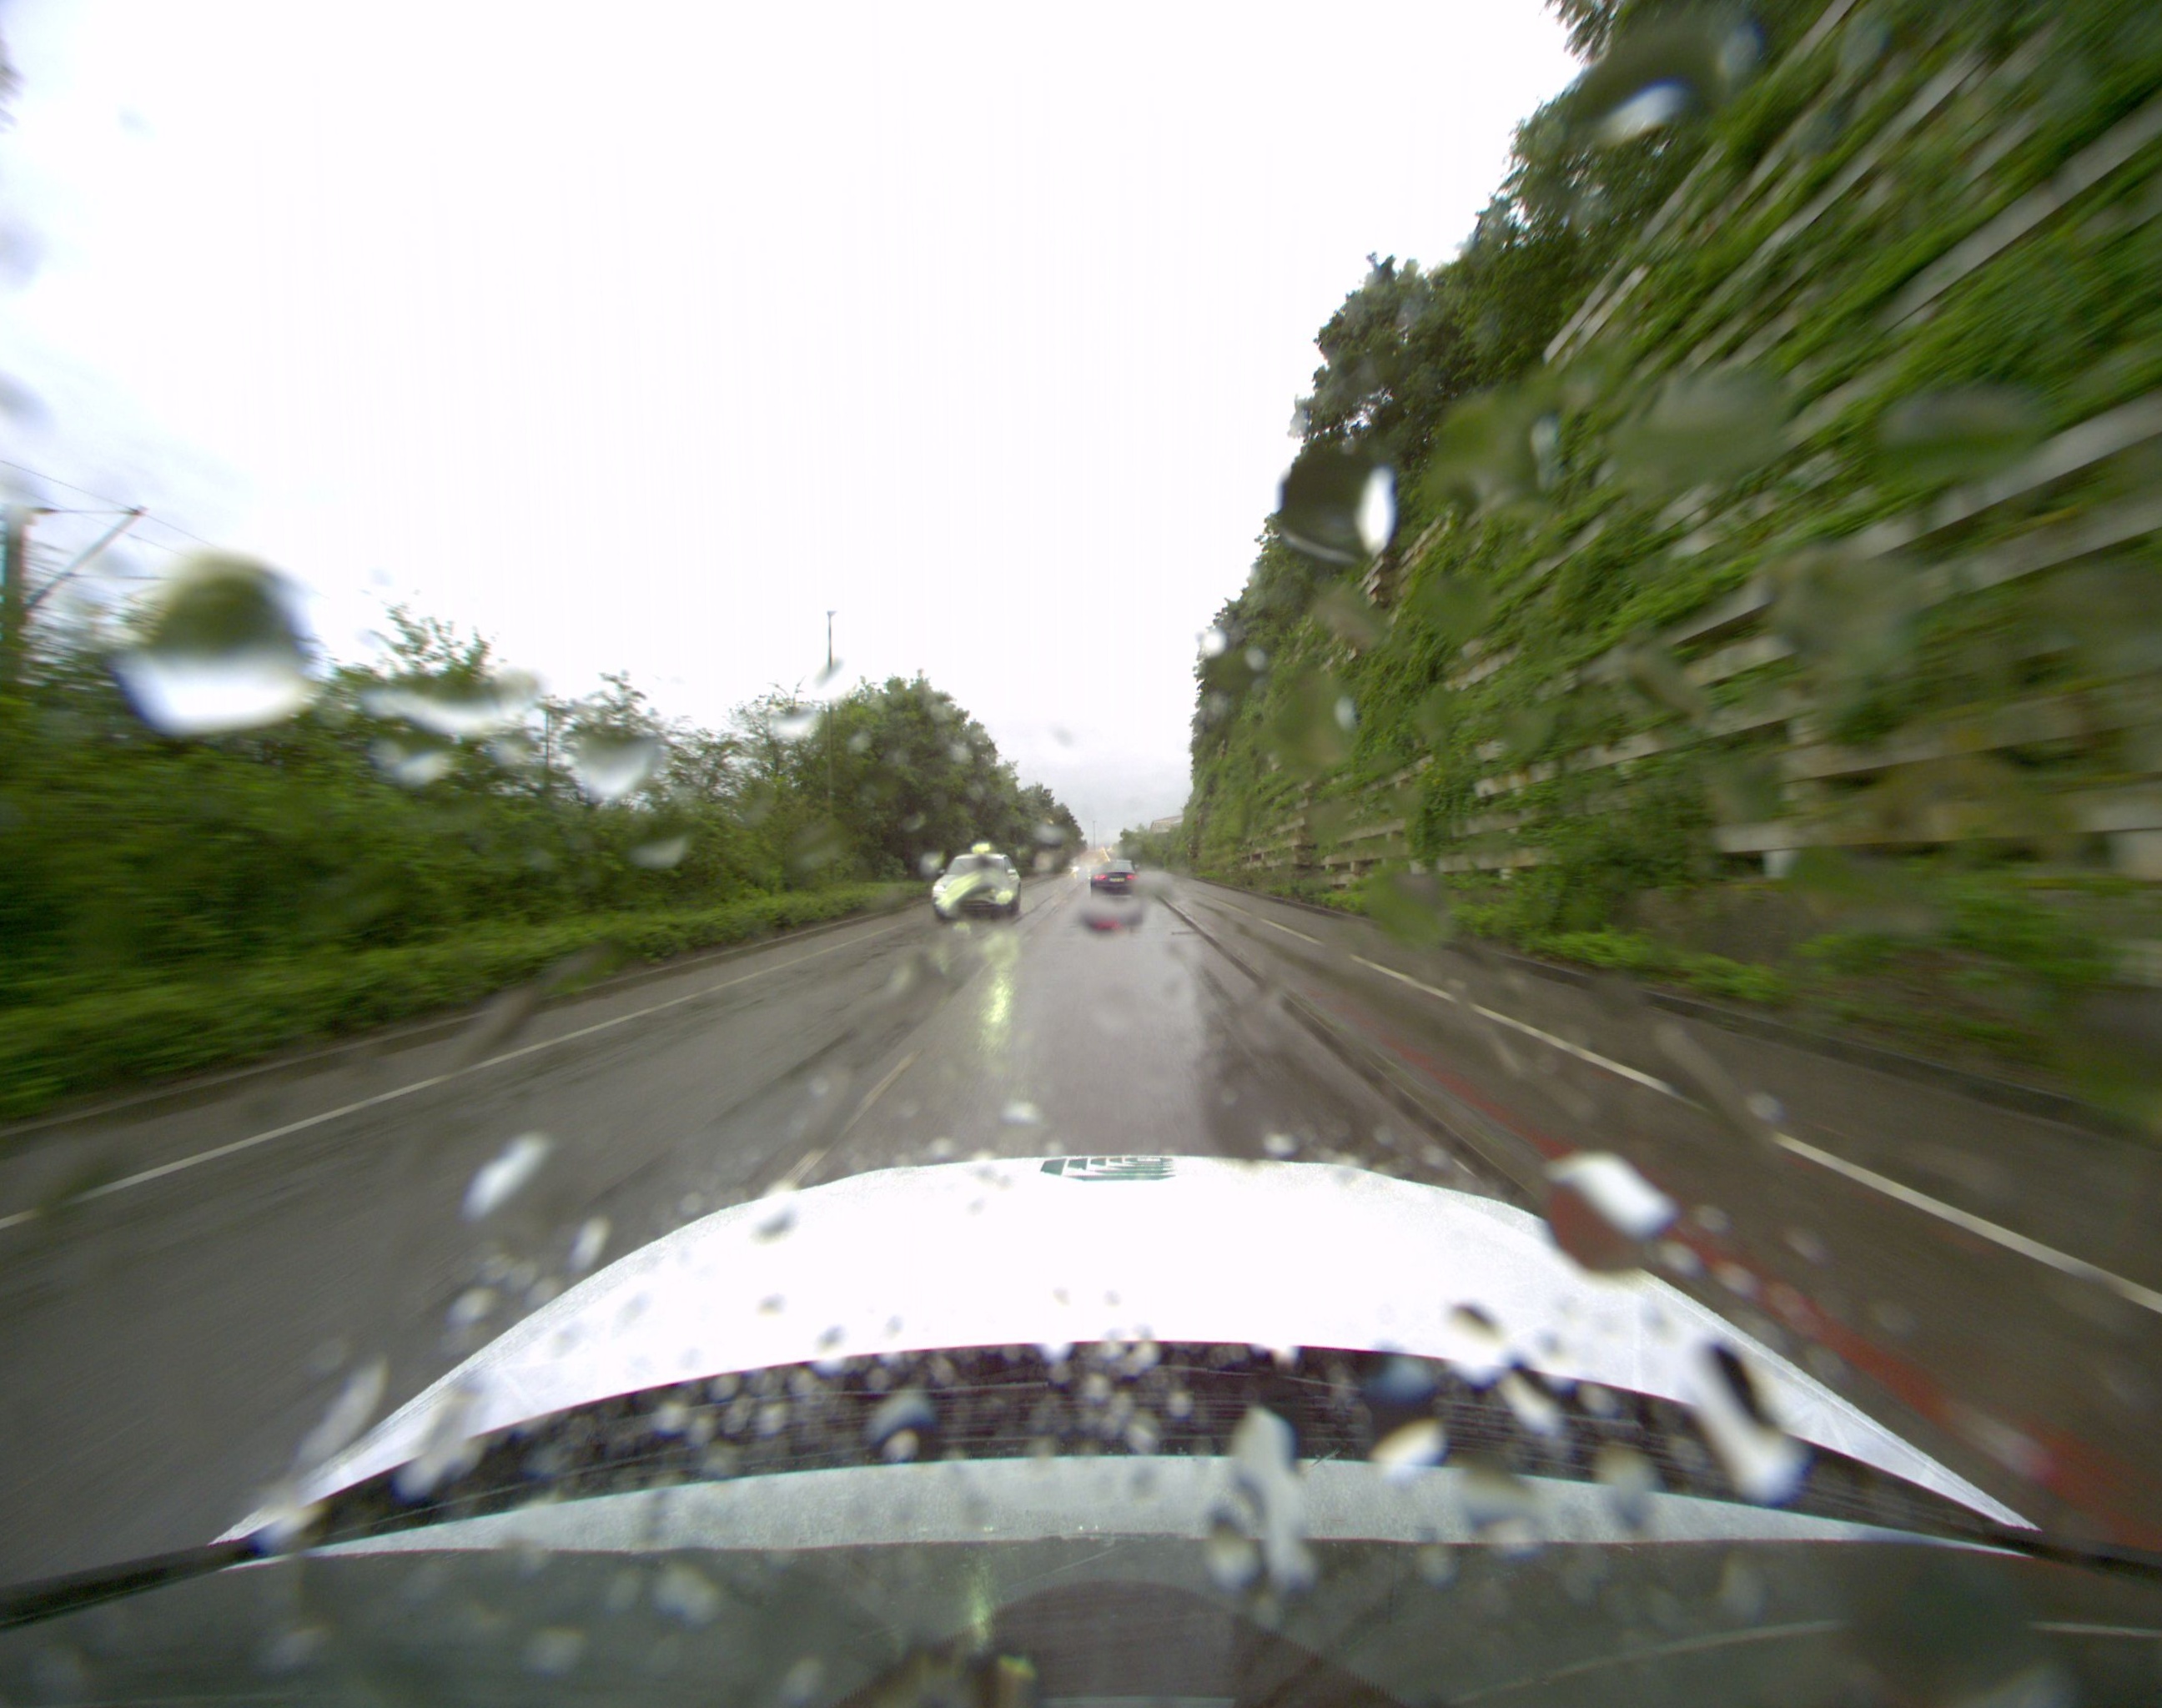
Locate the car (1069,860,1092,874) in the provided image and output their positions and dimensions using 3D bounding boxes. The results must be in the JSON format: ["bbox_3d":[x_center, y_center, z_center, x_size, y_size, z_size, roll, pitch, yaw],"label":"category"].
[{"bbox_3d":[-0.039,1.322,83.117,1.984,1.364,4.256,-1,0,4],"label":"car"}]

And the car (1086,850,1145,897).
[{"bbox_3d":[1.311,0.648,29.276,1.884,1.492,4.213,-2,0,4],"label":"car"}]

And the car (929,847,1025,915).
[{"bbox_3d":[-2.646,0.657,21.661,1.816,1.615,4.096,-1,0,2],"label":"car"}]
